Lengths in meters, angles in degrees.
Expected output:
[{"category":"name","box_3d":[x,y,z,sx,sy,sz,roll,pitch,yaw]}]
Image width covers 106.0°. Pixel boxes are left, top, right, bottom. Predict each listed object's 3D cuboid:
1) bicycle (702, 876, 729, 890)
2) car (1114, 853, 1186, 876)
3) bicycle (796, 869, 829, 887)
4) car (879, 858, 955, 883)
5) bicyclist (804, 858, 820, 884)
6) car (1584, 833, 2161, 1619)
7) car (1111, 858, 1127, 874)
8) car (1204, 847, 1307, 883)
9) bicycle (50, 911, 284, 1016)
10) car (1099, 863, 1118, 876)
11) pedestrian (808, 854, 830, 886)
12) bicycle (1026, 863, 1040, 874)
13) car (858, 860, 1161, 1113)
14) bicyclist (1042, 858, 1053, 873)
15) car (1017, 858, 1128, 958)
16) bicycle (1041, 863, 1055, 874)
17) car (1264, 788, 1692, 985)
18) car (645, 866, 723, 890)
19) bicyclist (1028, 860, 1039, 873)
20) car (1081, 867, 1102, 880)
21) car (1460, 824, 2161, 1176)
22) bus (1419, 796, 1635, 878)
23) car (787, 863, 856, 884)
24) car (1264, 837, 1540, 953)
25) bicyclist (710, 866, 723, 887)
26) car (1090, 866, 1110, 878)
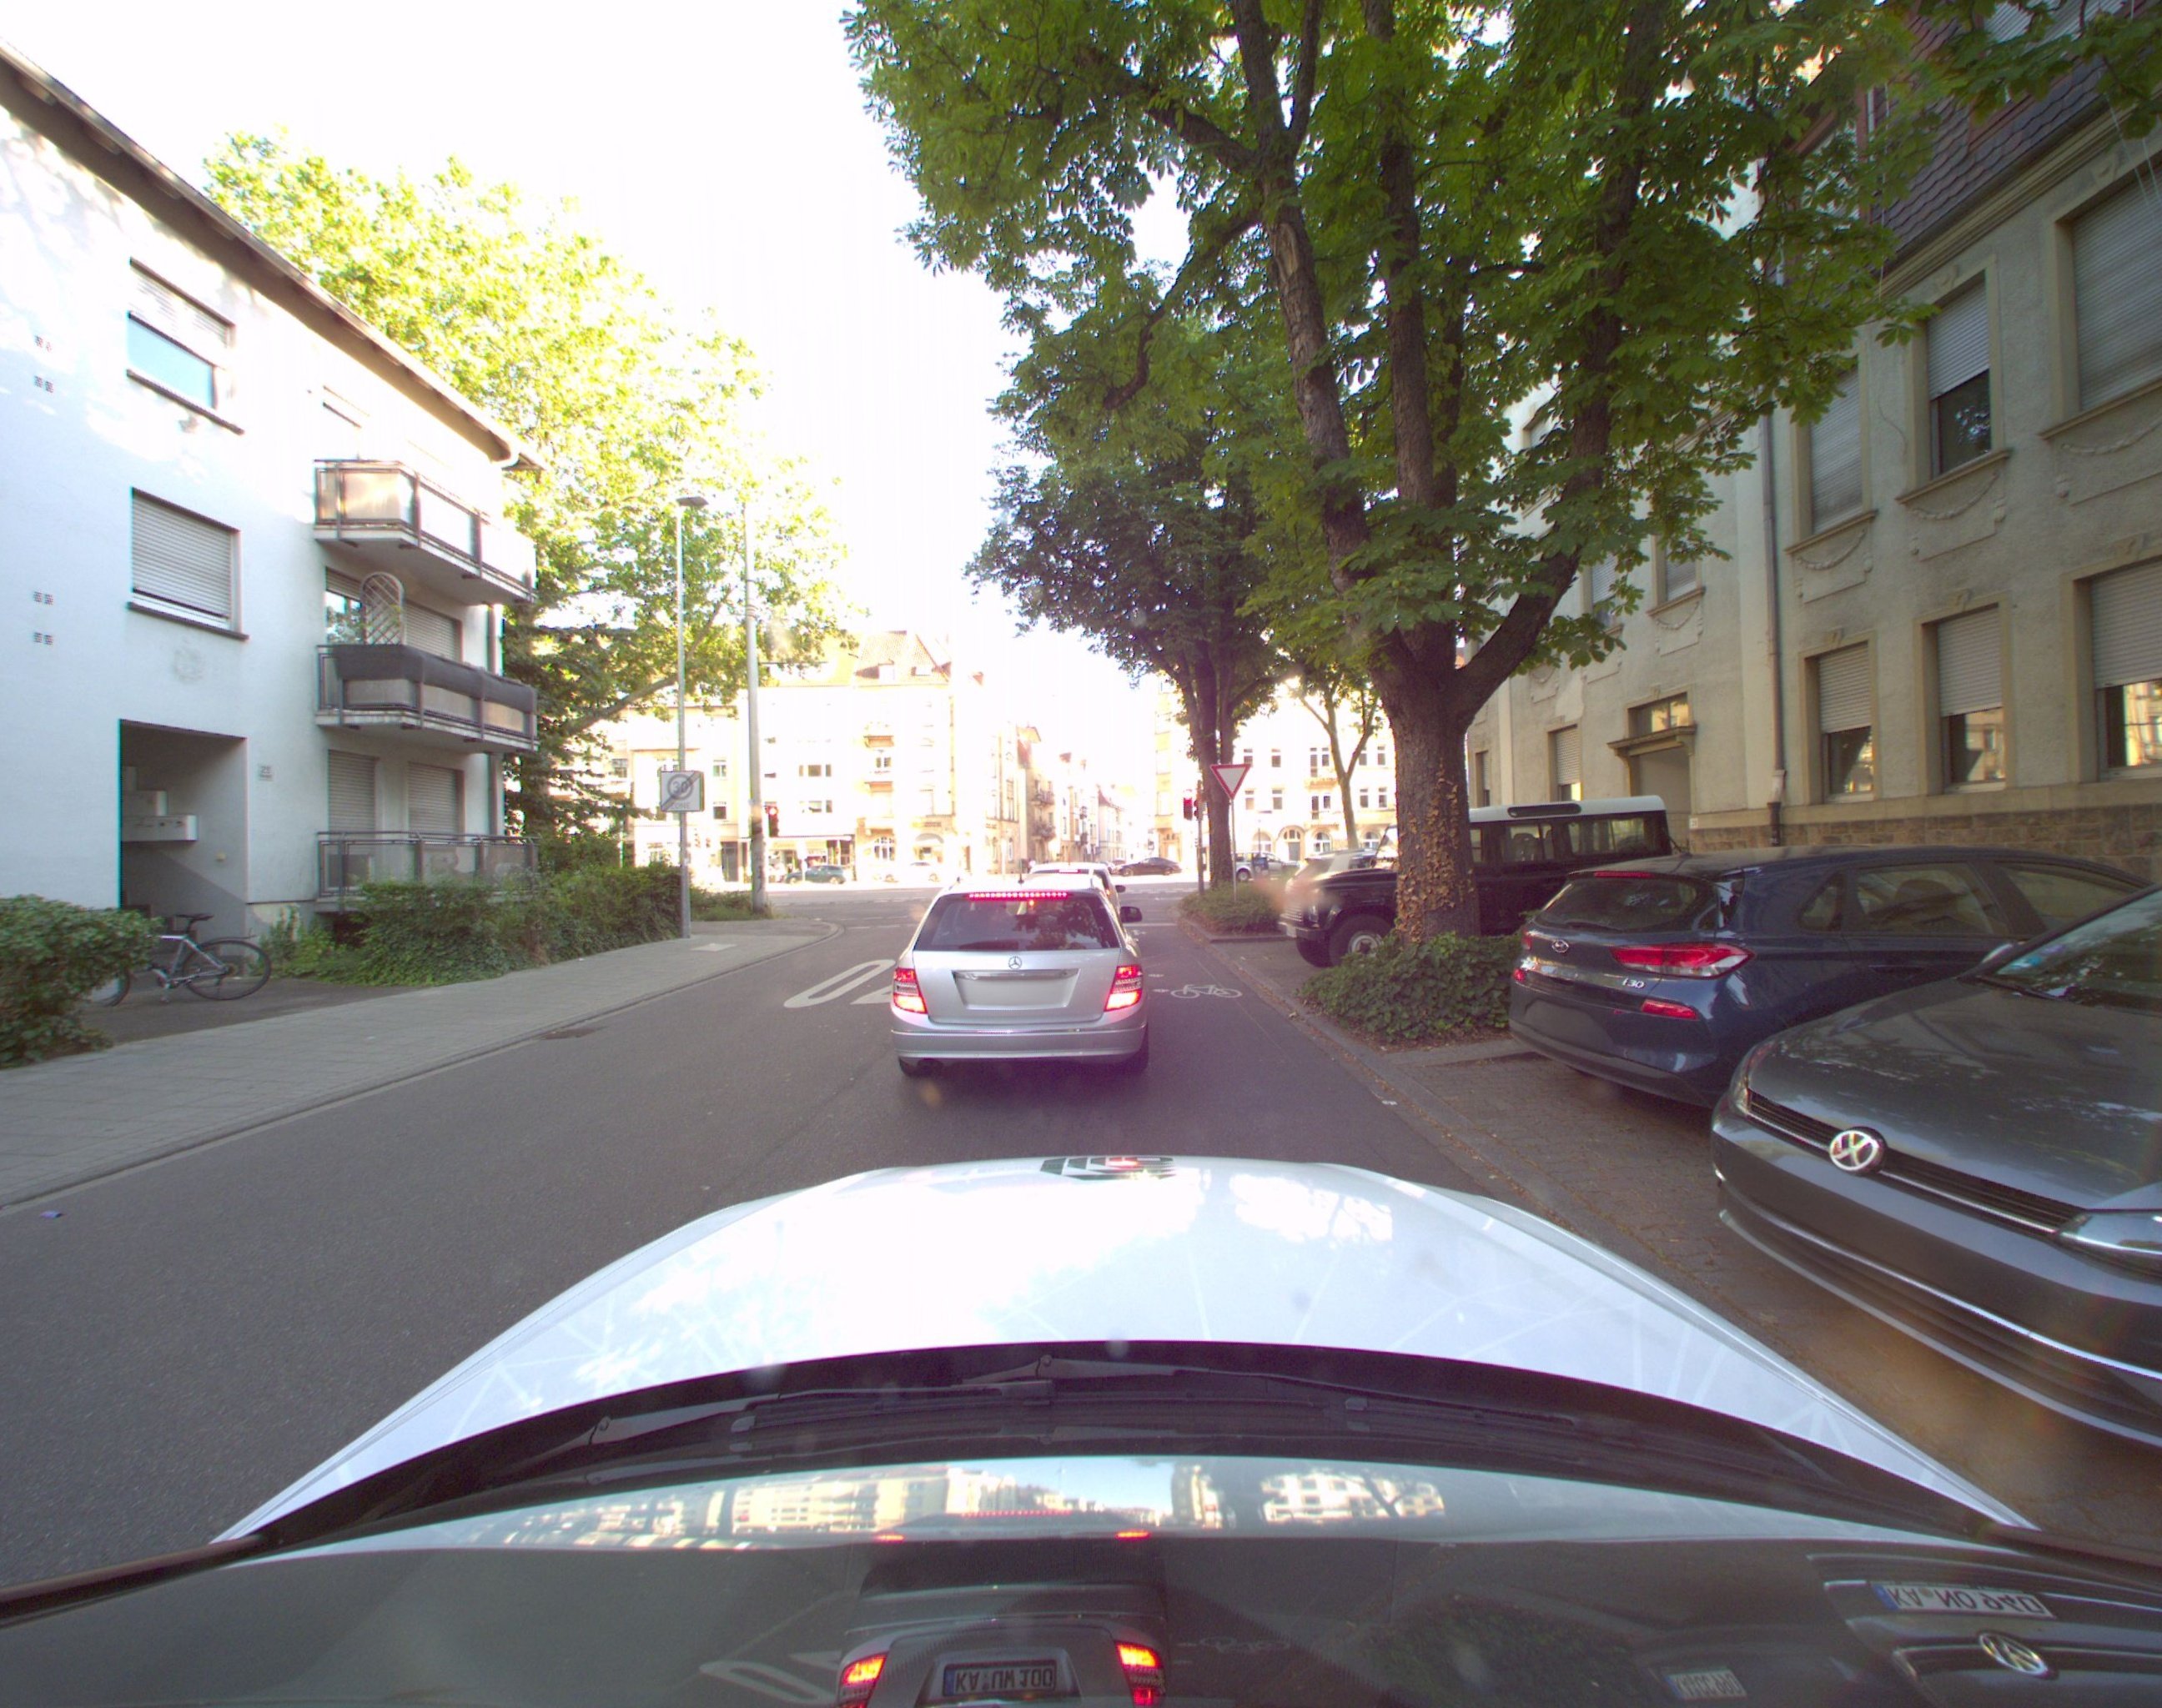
[{"category":"bicycle","box_3d":[-25.879,2.042,57.658,1.613,0.876,0.636,-1,0,-4]},{"category":"car","box_3d":[4.839,0.726,57.350,4.871,1.452,1.857,-1,0,-2]},{"category":"bicycle","box_3d":[-19.981,1.778,60.610,2.251,1.246,0.636,-1,0,-3]},{"category":"car","box_3d":[-10.727,1.050,53.525,4.694,1.460,1.834,-2,0,-4]},{"category":"bicyclist","box_3d":[-20.024,1.244,60.614,0.889,1.859,0.636,-1,0,-3]},{"category":"car","box_3d":[4.026,0.648,2.383,4.042,1.452,1.722,-3,-1,-2]},{"category":"car","box_3d":[5.469,1.727,117.398,1.776,2.204,4.012,-1,0,10]},{"category":"car","box_3d":[8.039,0.485,37.715,4.338,1.497,1.658,-1,0,-5]},{"category":"bicycle","box_3d":[-10.001,1.163,9.006,1.630,1.008,0.511,2,-2,-39]},{"category":"car","box_3d":[3.696,2.075,108.839,1.824,1.663,4.012,-1,0,10]},{"category":"pedestrian","box_3d":[-20.726,1.275,64.438,1.343,2.464,1.059,-1,0,-3]},{"category":"bicycle","box_3d":[-4.333,1.342,73.645,0.765,0.940,1.947,-1,0,13]},{"category":"car","box_3d":[-0.409,0.795,7.082,1.771,1.452,4.547,-1,0,0]},{"category":"bicyclist","box_3d":[-3.016,1.032,73.704,0.765,1.290,0.755,-1,0,13]},{"category":"car","box_3d":[-0.115,0.813,14.170,1.614,1.447,4.344,-1,0,0]},{"category":"bicycle","box_3d":[-3.012,1.325,73.701,0.765,0.934,1.947,-1,0,13]},{"category":"car","box_3d":[4.734,0.365,10.128,4.453,2.036,1.700,-3,-1,-2]},{"category":"car","box_3d":[-25.149,1.488,51.673,4.026,1.360,1.661,-2,0,-4]},{"category":"bicyclist","box_3d":[-4.317,1.120,73.724,0.765,1.156,0.755,-1,0,13]},{"category":"car","box_3d":[1.314,2.309,97.163,1.824,1.402,4.012,-1,0,10]},{"category":"car","box_3d":[4.391,0.632,4.554,3.714,1.452,1.707,-3,-1,-2]},{"category":"bus","box_3d":[19.586,-0.743,35.987,8.166,3.201,2.905,-2,0,-7]},{"category":"car","box_3d":[-17.783,1.320,55.889,4.212,1.349,1.662,-1,0,-4]},{"category":"car","box_3d":[5.023,0.616,13.088,3.714,1.570,1.707,-3,-1,-2]},{"category":"bicyclist","box_3d":[-25.821,1.588,57.662,0.642,1.426,0.636,-1,0,-3]},{"category":"car","box_3d":[2.385,2.262,102.633,1.824,1.402,4.012,-1,0,10]}]
